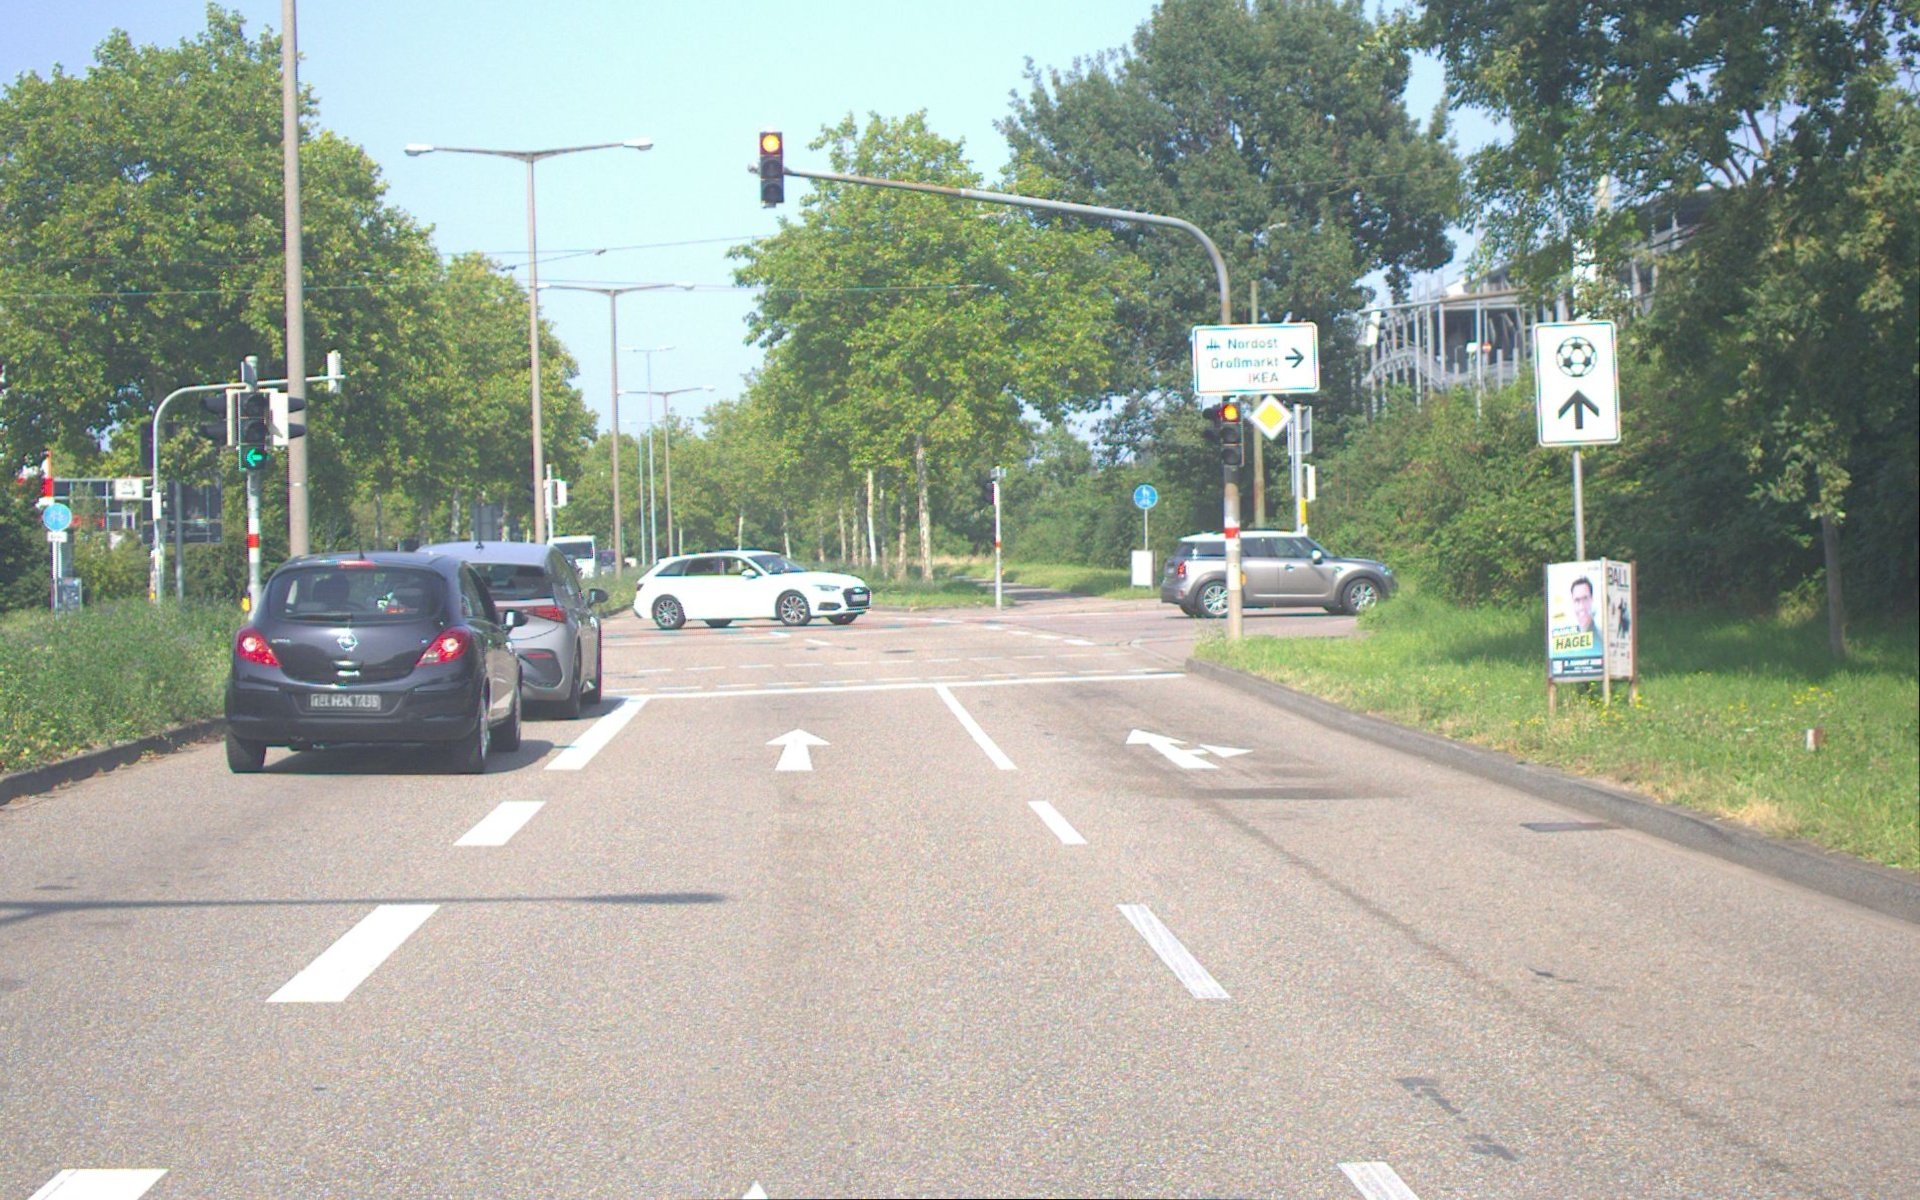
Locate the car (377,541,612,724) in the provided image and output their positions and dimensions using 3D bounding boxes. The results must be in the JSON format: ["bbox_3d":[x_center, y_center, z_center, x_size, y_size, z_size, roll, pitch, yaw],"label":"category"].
[{"bbox_3d":[-4.114,0.239,30.924,1.692,1.480,4.001,-2,1,-2],"label":"car"}]

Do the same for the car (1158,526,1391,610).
[{"bbox_3d":[5.683,-0.579,62.387,3.965,1.481,1.626,0,1,-6],"label":"car"}]

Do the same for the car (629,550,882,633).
[{"bbox_3d":[-3.839,-0.177,64.250,4.616,1.481,1.694,1,1,33],"label":"car"}]

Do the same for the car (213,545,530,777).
[{"bbox_3d":[-4.016,0.364,24.016,1.692,1.481,4.000,0,1,-2],"label":"car"}]
